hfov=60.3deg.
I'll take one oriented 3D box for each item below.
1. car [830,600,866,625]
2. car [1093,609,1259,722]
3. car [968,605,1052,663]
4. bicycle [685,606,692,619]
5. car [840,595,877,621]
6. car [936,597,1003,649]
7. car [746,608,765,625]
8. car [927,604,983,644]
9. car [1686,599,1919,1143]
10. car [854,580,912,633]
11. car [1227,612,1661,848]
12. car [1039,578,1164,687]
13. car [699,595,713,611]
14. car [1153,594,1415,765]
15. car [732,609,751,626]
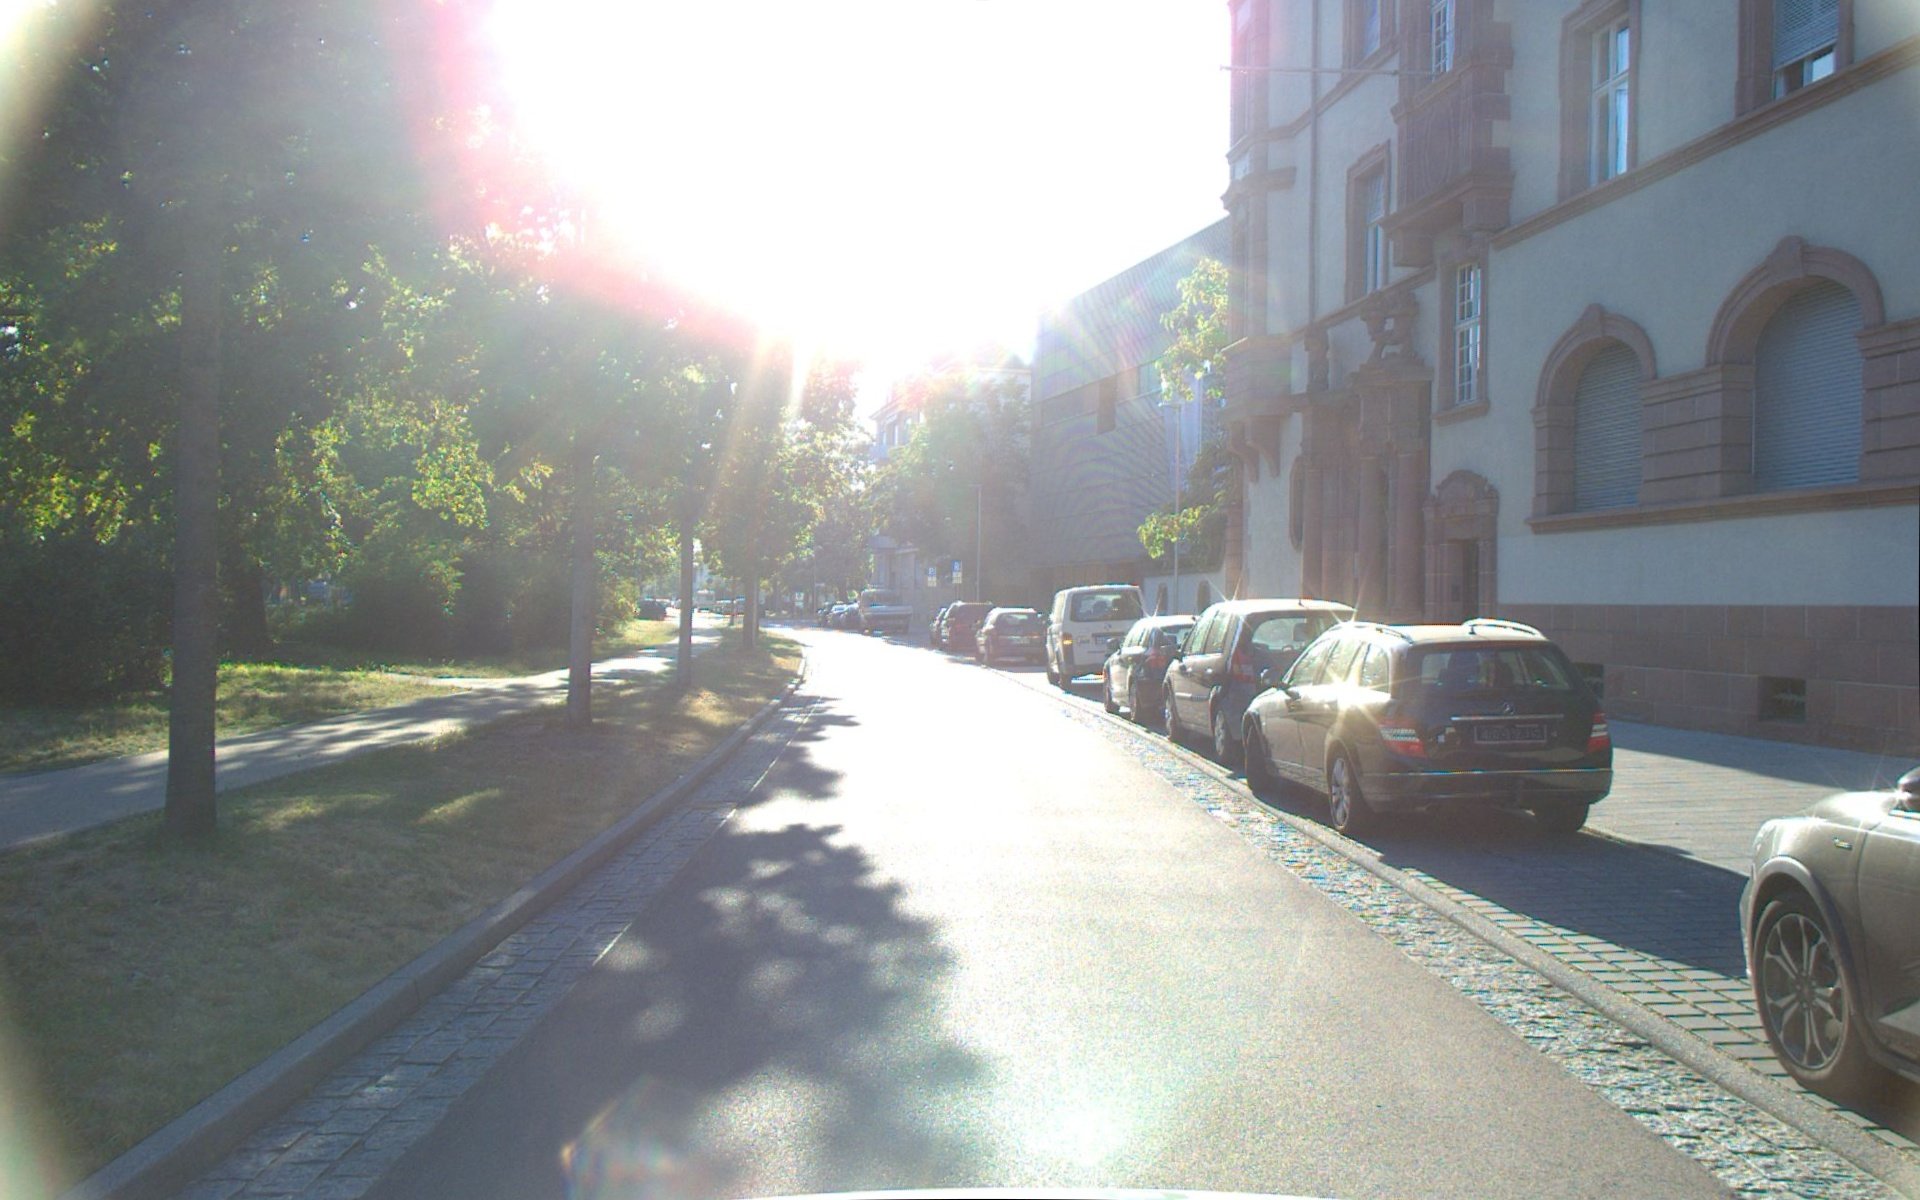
[{"bbox_3d":[-6.859,0.751,100.940,1.661,1.466,4.092,0,0,-12],"label":"car"},{"bbox_3d":[2.988,0.865,23.673,1.645,1.427,4.197,-1,0,-3],"label":"car"},{"bbox_3d":[1.341,0.915,46.104,1.714,1.492,4.471,1,0,-6],"label":"car"},{"bbox_3d":[-29.203,1.304,178.079,0.675,1.223,2.340,1,3,-7],"label":"bicycle"},{"bbox_3d":[-5.902,0.431,96.067,1.661,1.466,3.540,0,0,-12],"label":"car"},{"bbox_3d":[0.292,0.747,56.461,1.692,1.698,4.106,-1,0,-8],"label":"car"},{"bbox_3d":[-19.612,1.566,158.496,1.760,1.536,3.993,1,0,-8],"label":"car"},{"bbox_3d":[-0.227,0.888,62.311,1.691,1.446,3.900,0,0,-7],"label":"car"},{"bbox_3d":[3.605,0.770,4.026,1.732,1.557,4.573,-1,0,1],"label":"car"},{"bbox_3d":[-4.037,0.325,85.156,2.171,2.574,6.132,-1,0,-10],"label":"car"},{"bbox_3d":[3.501,0.853,12.949,1.834,1.461,4.519,-1,0,-3],"label":"car"},{"bbox_3d":[2.822,0.632,34.054,1.953,2.000,4.847,-2,0,-2],"label":"car"},{"bbox_3d":[-34.292,0.396,223.395,1.761,2.034,3.990,1,0,-10],"label":"car"},{"bbox_3d":[3.399,0.772,18.182,1.780,1.630,4.189,-1,0,-4],"label":"car"},{"bbox_3d":[-22.748,1.817,171.965,1.761,1.755,3.990,1,0,-10],"label":"car"}]
